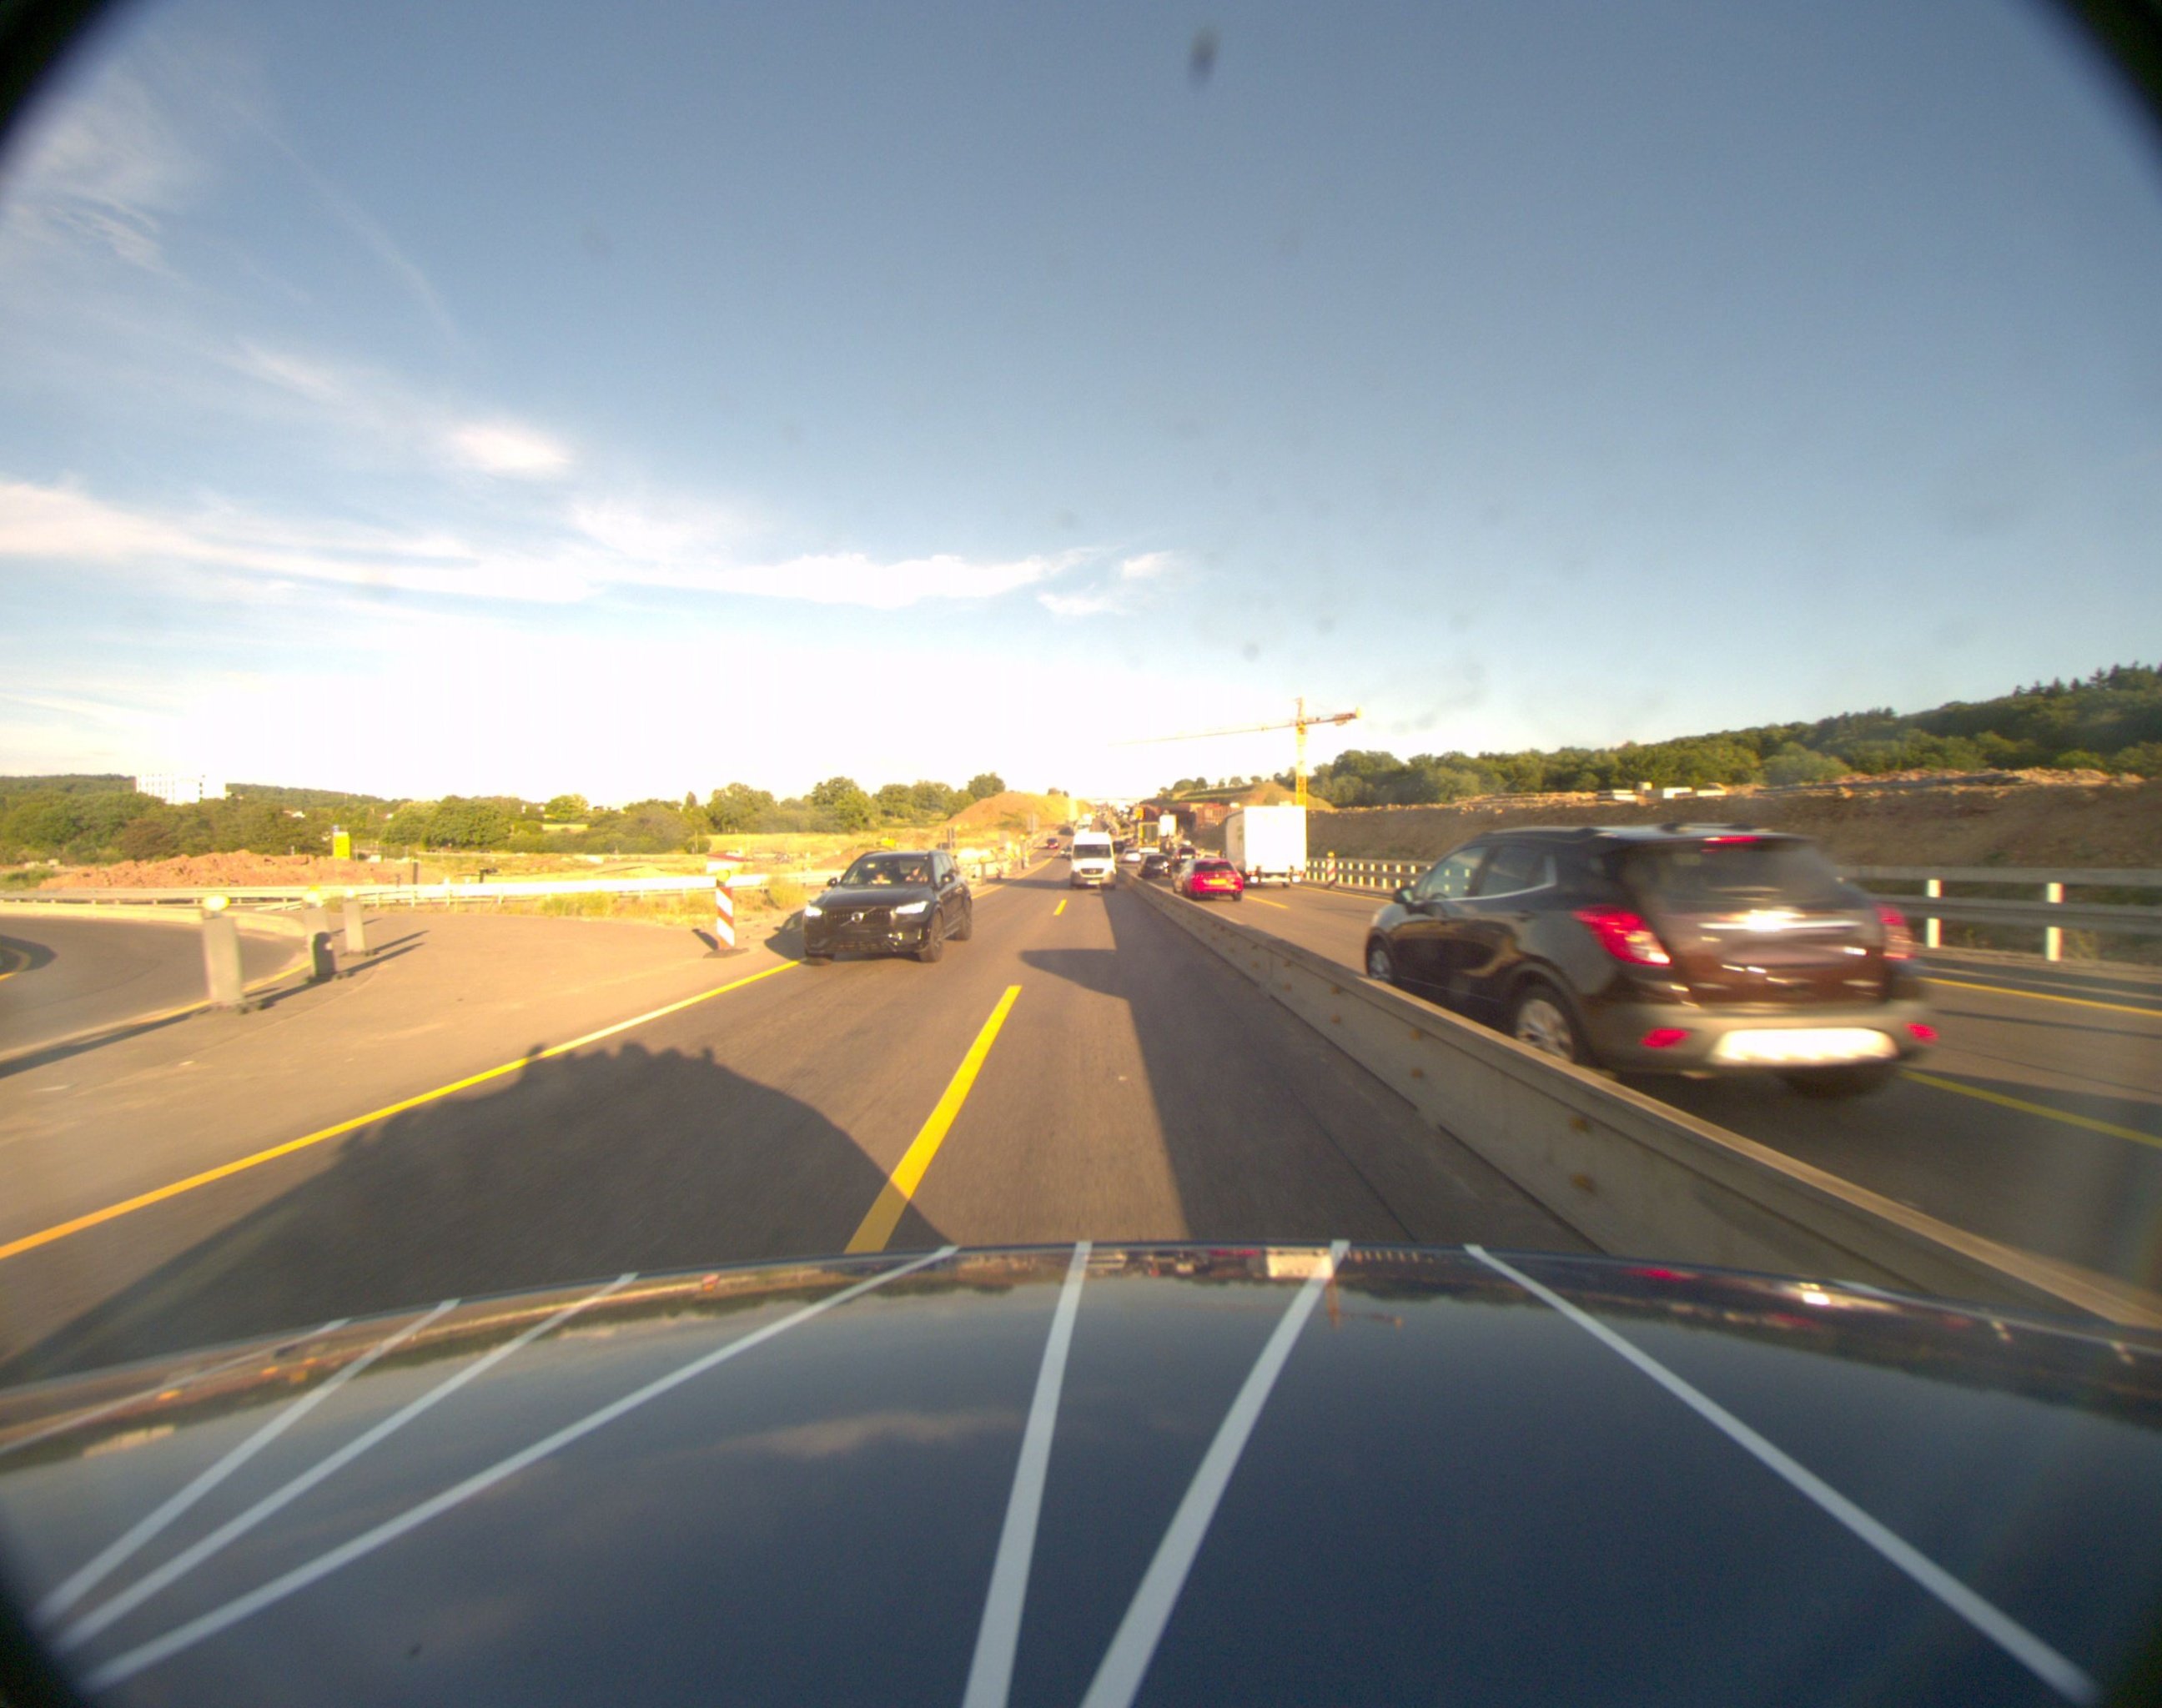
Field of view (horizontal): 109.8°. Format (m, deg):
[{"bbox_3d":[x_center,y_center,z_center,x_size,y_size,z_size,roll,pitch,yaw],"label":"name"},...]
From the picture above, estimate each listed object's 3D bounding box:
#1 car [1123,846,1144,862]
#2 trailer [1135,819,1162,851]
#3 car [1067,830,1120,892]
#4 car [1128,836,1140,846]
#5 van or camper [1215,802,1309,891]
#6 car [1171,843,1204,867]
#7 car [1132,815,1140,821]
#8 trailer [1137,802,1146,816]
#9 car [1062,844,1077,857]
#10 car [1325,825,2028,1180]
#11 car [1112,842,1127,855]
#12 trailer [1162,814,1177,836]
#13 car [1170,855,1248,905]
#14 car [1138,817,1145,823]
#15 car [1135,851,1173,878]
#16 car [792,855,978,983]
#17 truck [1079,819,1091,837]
[{"bbox_3d":[5.107,0.010,74.407,1.866,1.424,4.154,-2,1,1],"label":"car"},{"bbox_3d":[8.827,-2.473,100.322,2.780,4.008,13.681,-1,1,2],"label":"trailer"},{"bbox_3d":[0.606,0.255,33.707,2.109,2.518,5.219,-1,1,2],"label":"car"},{"bbox_3d":[8.532,-2.120,122.559,1.719,1.402,4.327,-1,2,6],"label":"car"},{"bbox_3d":[7.821,-0.313,33.818,2.464,3.478,7.413,-1,0,1],"label":"van or camper"},{"bbox_3d":[8.296,0.040,59.484,1.998,1.754,4.440,-1,1,1],"label":"car"},{"bbox_3d":[17.962,-11.858,249.696,1.997,2.003,5.257,-1,4,10],"label":"car"},{"bbox_3d":[21.159,-15.757,265.865,2.589,4.448,14.130,-2,4,5],"label":"trailer"},{"bbox_3d":[-1.367,-0.439,91.831,1.790,1.477,4.000,-1,0,1],"label":"car"},{"bbox_3d":[3.535,0.690,5.836,1.832,1.630,4.529,-1,0,0],"label":"car"},{"bbox_3d":[5.253,-0.827,104.605,1.916,1.600,4.493,-1,2,1],"label":"car"},{"bbox_3d":[17.869,-6.004,154.103,2.536,4.191,13.932,-2,3,6],"label":"trailer"},{"bbox_3d":[4.181,0.812,25.532,1.820,1.454,4.705,-1,0,1],"label":"car"},{"bbox_3d":[18.168,-10.276,228.109,1.792,1.611,4.873,-2,4,9],"label":"car"},{"bbox_3d":[4.295,0.596,45.030,1.820,1.454,4.705,-1,0,1],"label":"car"},{"bbox_3d":[-3.066,0.913,13.074,1.902,1.703,4.887,-2,0,0],"label":"car"},{"bbox_3d":[0.807,-5.590,165.193,2.264,3.706,6.569,-3,2,-1],"label":"truck"}]
